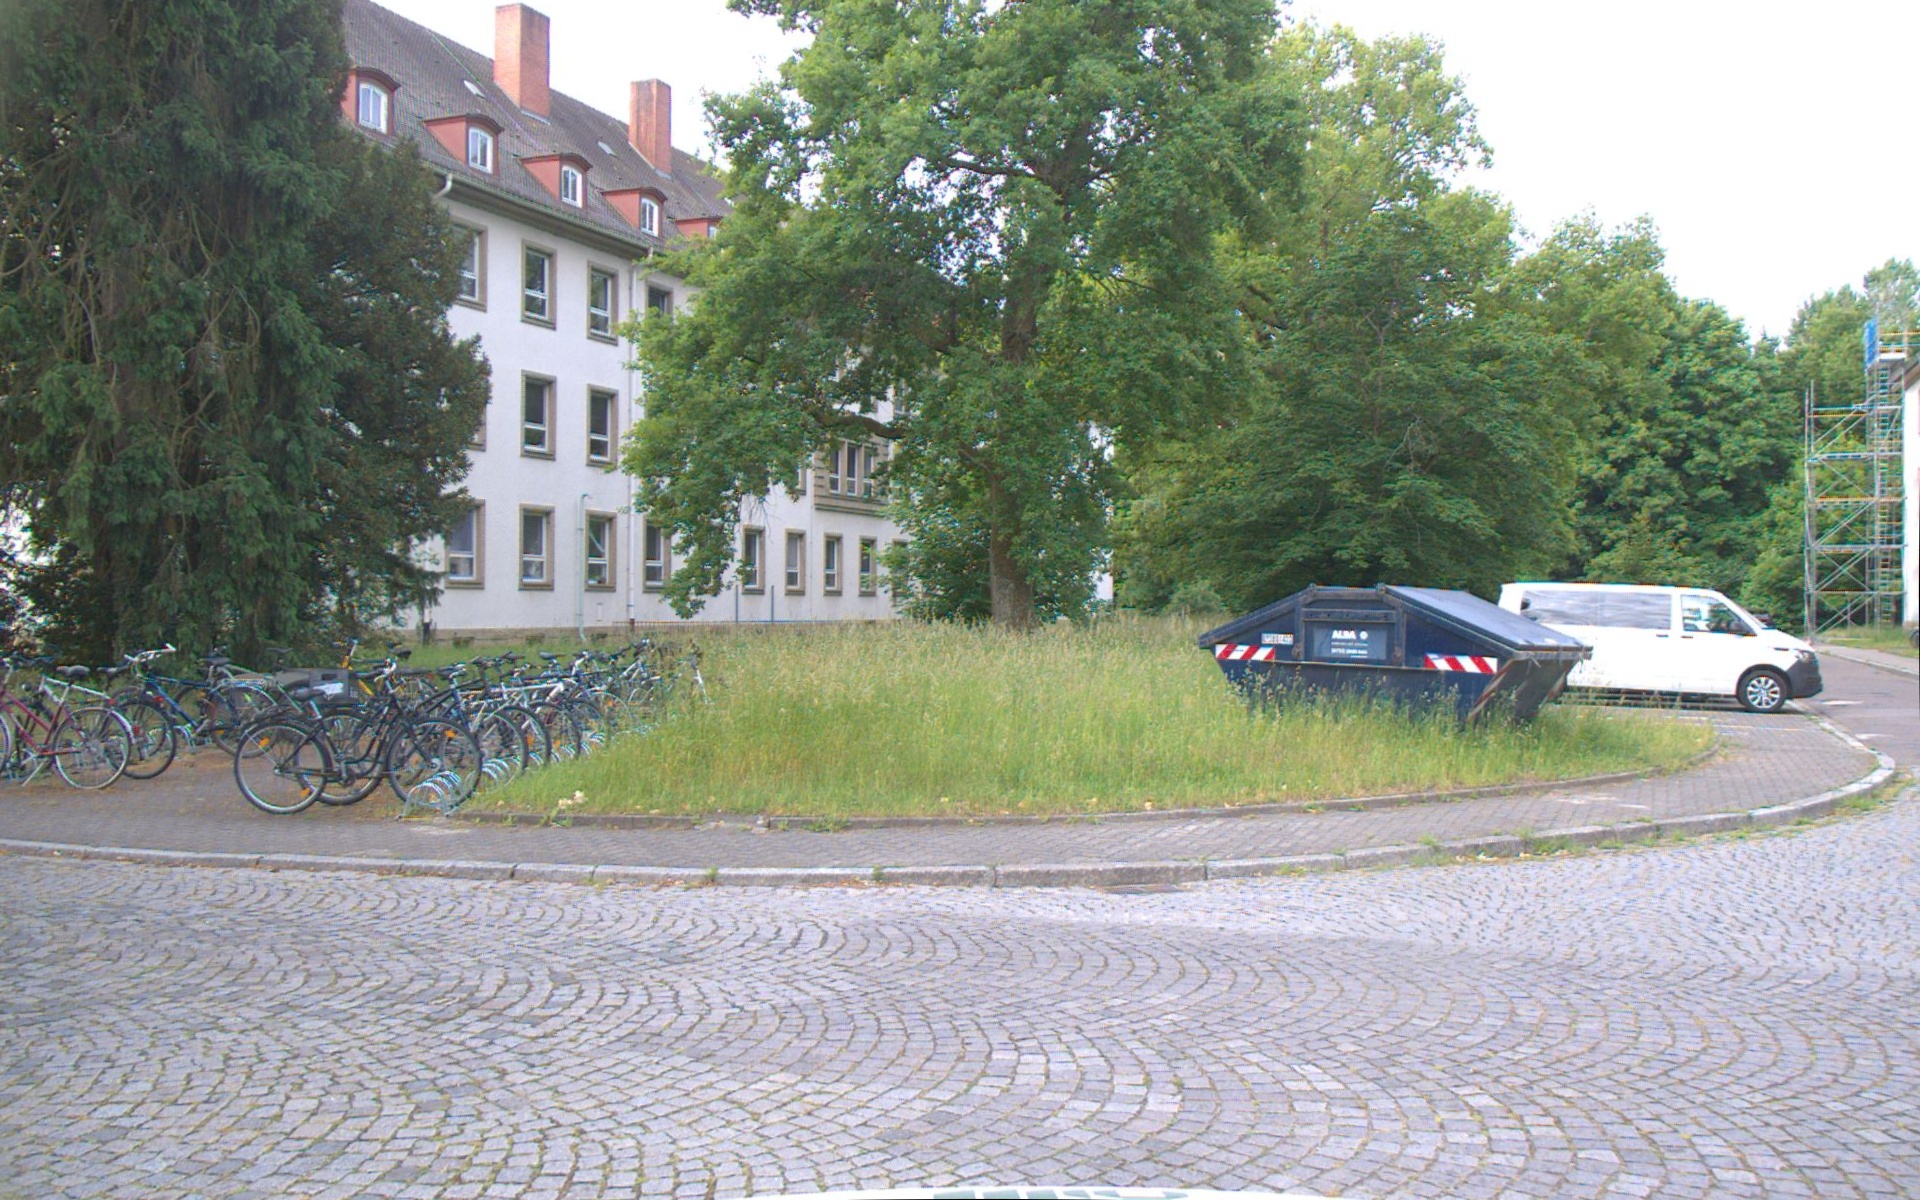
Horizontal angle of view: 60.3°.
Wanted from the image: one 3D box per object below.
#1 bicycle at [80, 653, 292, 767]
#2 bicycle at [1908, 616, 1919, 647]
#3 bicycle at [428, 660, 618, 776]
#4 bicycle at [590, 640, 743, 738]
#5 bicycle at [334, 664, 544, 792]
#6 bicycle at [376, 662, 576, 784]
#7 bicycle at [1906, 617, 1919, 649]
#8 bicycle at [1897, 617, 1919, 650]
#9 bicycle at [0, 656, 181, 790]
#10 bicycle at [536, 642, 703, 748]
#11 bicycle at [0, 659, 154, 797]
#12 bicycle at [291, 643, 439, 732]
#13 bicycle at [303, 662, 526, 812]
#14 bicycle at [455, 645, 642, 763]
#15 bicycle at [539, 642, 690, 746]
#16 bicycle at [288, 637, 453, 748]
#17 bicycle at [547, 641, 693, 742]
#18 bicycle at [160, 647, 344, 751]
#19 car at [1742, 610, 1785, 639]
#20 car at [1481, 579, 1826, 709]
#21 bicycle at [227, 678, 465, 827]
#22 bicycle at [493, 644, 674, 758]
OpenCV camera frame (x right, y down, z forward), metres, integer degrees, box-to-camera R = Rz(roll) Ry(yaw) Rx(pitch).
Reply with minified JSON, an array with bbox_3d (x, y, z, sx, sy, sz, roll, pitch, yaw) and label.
[{"bbox_3d":[-7.621,1.070,16.330,1.783,1.084,0.618,0,-1,-3],"label":"bicycle"},{"bbox_3d":[34.847,1.130,58.967,1.821,1.114,0.510,0,-1,30],"label":"bicycle"},{"bbox_3d":[-4.058,1.093,15.383,1.627,1.025,0.478,-1,-1,6],"label":"bicycle"},{"bbox_3d":[-3.475,1.049,19.642,1.722,1.131,0.478,0,-1,6],"label":"bicycle"},{"bbox_3d":[-4.411,1.077,14.028,1.627,1.025,0.478,-1,-1,6],"label":"bicycle"},{"bbox_3d":[-4.277,1.084,14.636,1.627,1.025,0.478,-1,-1,6],"label":"bicycle"},{"bbox_3d":[34.144,1.169,57.772,0.507,1.114,1.831,1,-1,-45],"label":"bicycle"},{"bbox_3d":[32.943,1.137,56.257,0.507,1.114,1.831,1,-1,-45],"label":"bicycle"},{"bbox_3d":[-7.899,1.075,14.651,1.761,1.134,0.552,0,-1,5],"label":"bicycle"},{"bbox_3d":[-3.725,1.033,18.133,1.722,1.131,0.478,0,-1,6],"label":"bicycle"},{"bbox_3d":[-7.887,1.082,14.155,1.726,1.134,0.552,0,-1,5],"label":"bicycle"},{"bbox_3d":[-7.320,1.068,20.361,1.642,1.060,0.552,0,-1,8],"label":"bicycle"},{"bbox_3d":[-4.275,1.063,13.024,1.587,1.093,0.477,-1,-1,-9],"label":"bicycle"},{"bbox_3d":[-4.056,1.013,16.344,1.722,1.131,0.478,0,-1,6],"label":"bicycle"},{"bbox_3d":[-3.884,1.042,18.599,1.611,1.131,0.442,0,-1,12],"label":"bicycle"},{"bbox_3d":[-6.584,1.014,18.478,1.711,1.191,0.552,0,-1,15],"label":"bicycle"},{"bbox_3d":[-3.937,1.046,19.154,1.611,1.131,0.442,0,-1,12],"label":"bicycle"},{"bbox_3d":[-7.563,1.053,17.712,1.713,1.084,0.551,0,-1,-3],"label":"bicycle"},{"bbox_3d":[40.562,1.222,83.585,1.546,1.395,3.954,0,0,20],"label":"car"},{"bbox_3d":[11.506,0.696,27.715,5.152,2.031,1.968,0,-1,23],"label":"car"},{"bbox_3d":[-4.567,1.126,12.377,1.587,1.025,0.477,-1,-1,-9],"label":"bicycle"},{"bbox_3d":[-3.814,1.021,16.823,1.723,1.131,0.478,0,-1,1],"label":"bicycle"}]
